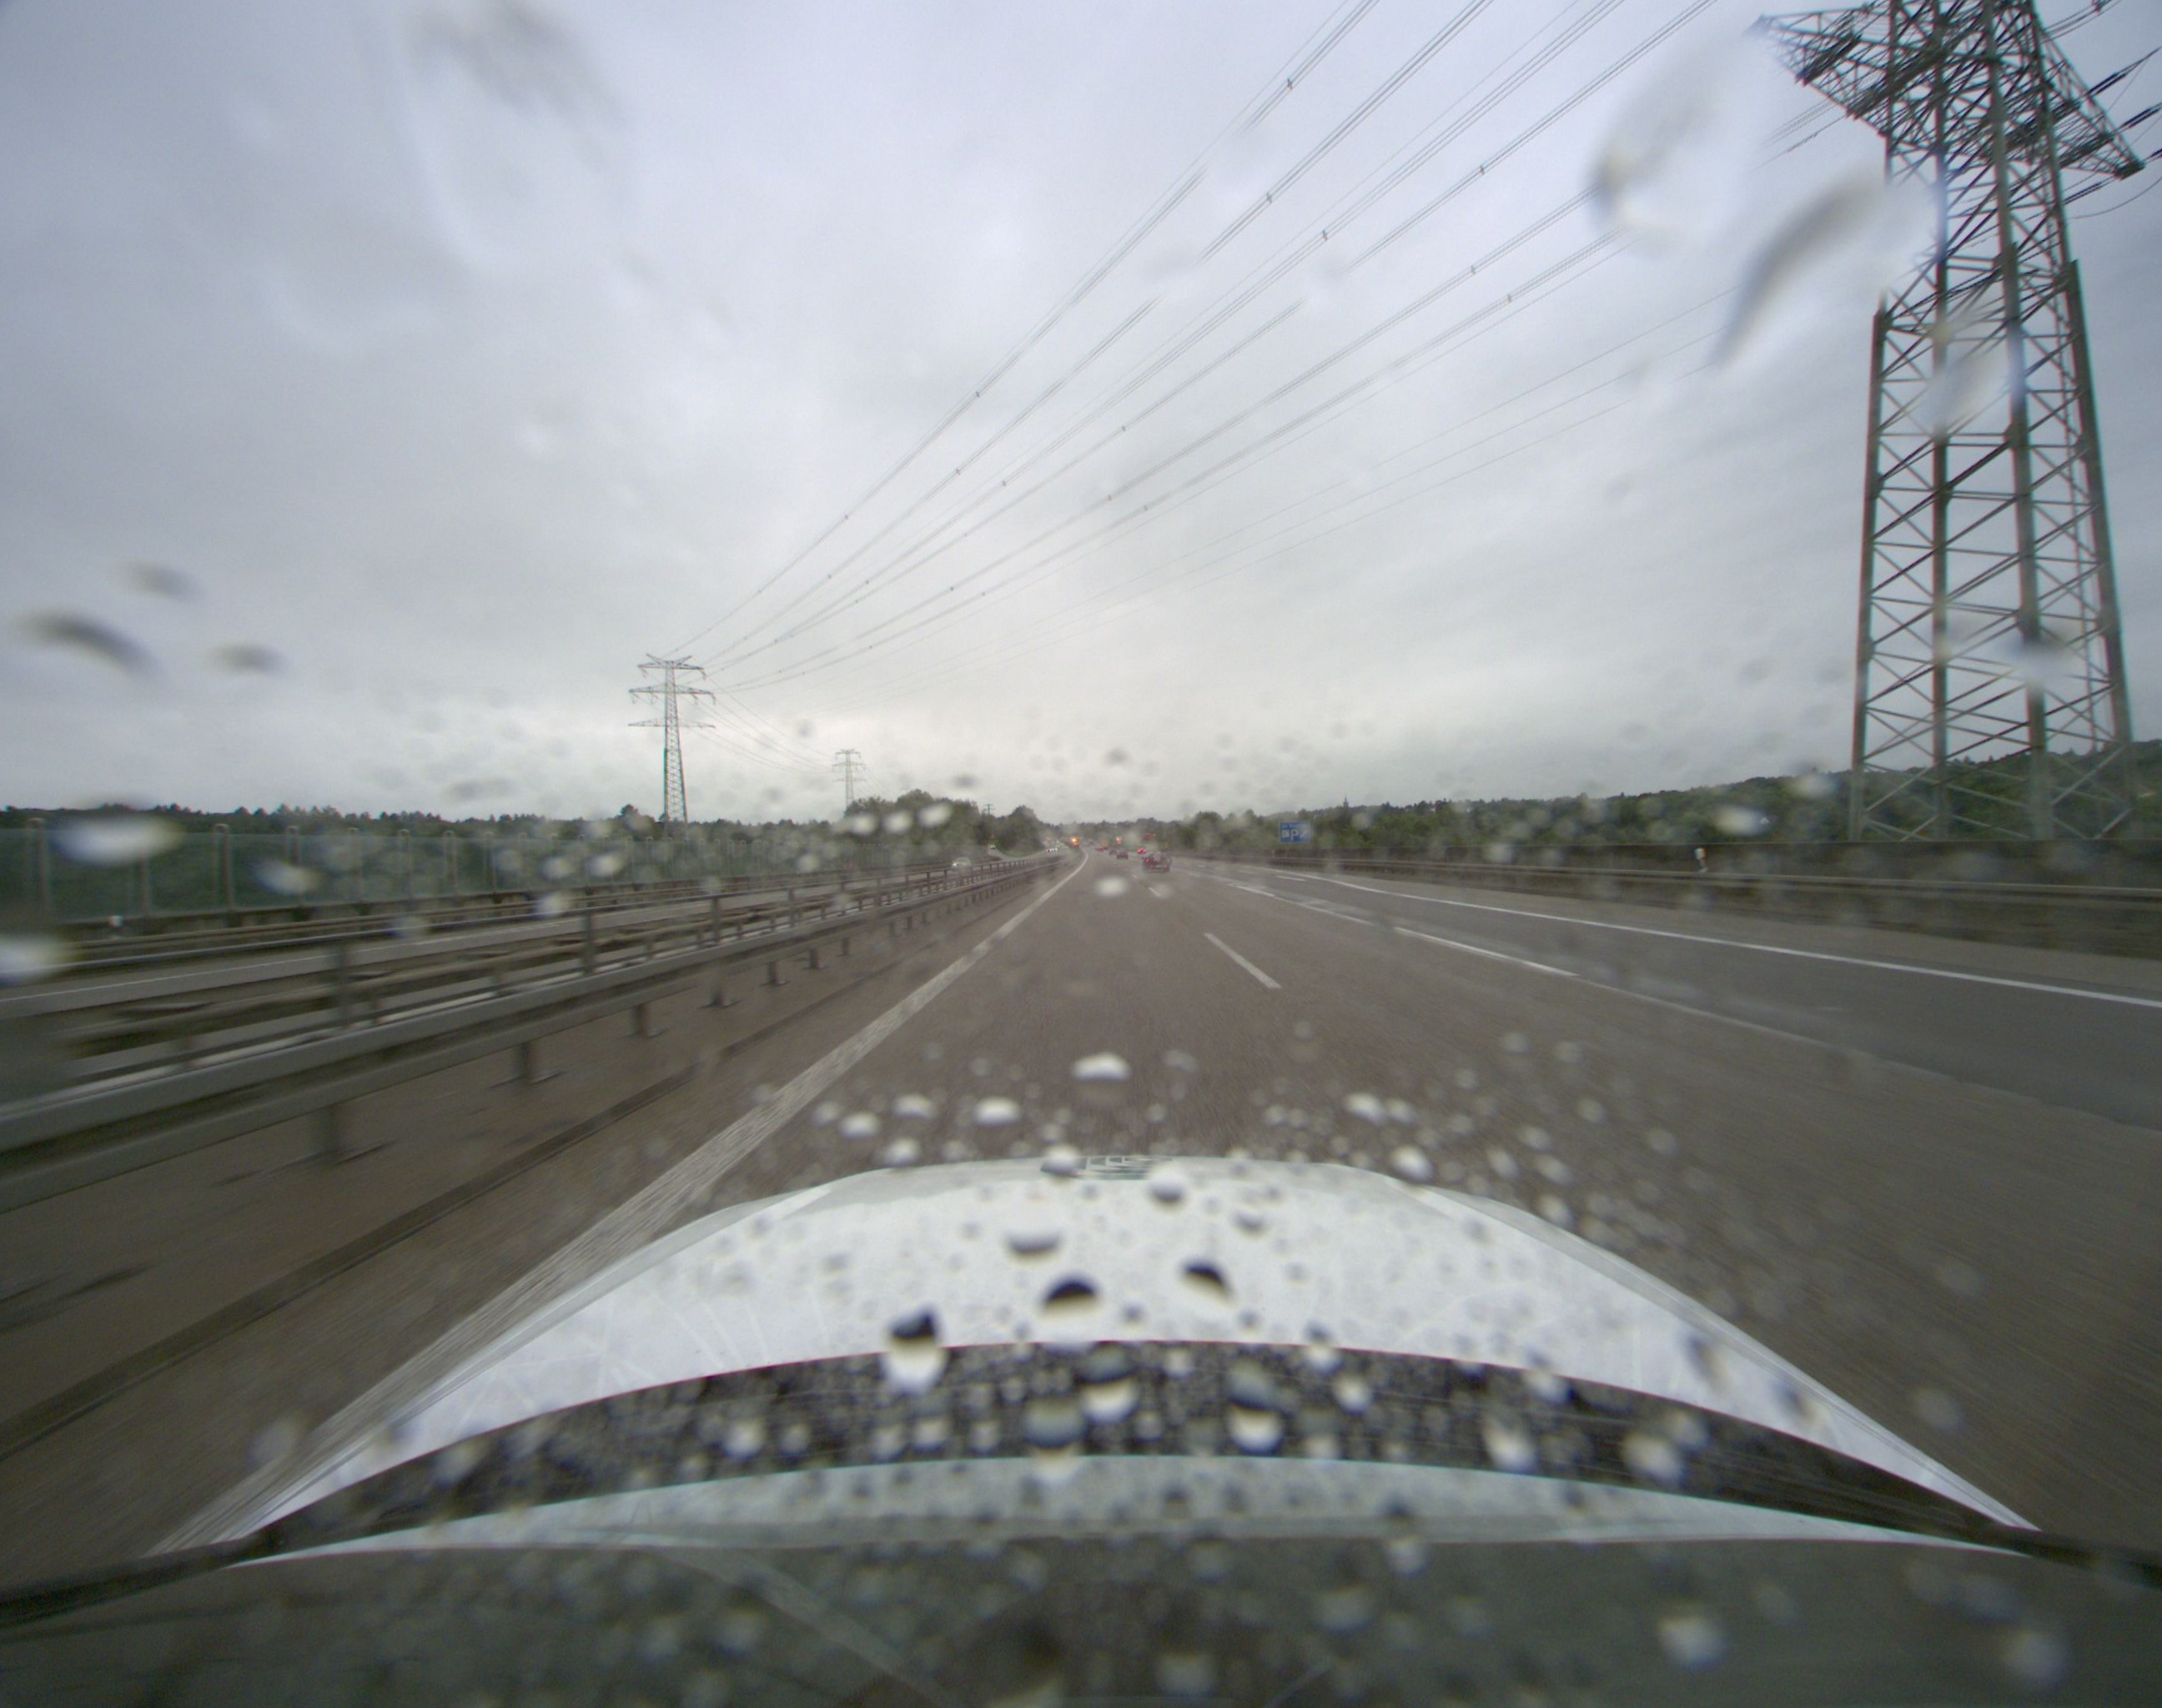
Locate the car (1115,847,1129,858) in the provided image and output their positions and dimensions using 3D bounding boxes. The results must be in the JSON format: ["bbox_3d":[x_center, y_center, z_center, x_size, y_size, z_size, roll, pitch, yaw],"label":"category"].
[{"bbox_3d":[6.802,-0.288,134.838,1.988,1.760,3.998,-3,1,-1],"label":"car"}]

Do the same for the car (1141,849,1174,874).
[{"bbox_3d":[5.483,0.504,59.159,2.050,1.671,5.525,-1,0,2],"label":"car"}]

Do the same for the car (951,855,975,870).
[{"bbox_3d":[-14.349,1.015,99.150,1.986,1.629,4.714,-2,0,1],"label":"car"}]

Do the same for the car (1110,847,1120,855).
[{"bbox_3d":[8.026,-0.744,193.236,1.988,1.628,3.998,-3,1,-1],"label":"car"}]

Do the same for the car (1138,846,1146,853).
[{"bbox_3d":[14.900,-1.072,199.466,1.913,1.709,4.007,-3,1,5],"label":"car"}]
